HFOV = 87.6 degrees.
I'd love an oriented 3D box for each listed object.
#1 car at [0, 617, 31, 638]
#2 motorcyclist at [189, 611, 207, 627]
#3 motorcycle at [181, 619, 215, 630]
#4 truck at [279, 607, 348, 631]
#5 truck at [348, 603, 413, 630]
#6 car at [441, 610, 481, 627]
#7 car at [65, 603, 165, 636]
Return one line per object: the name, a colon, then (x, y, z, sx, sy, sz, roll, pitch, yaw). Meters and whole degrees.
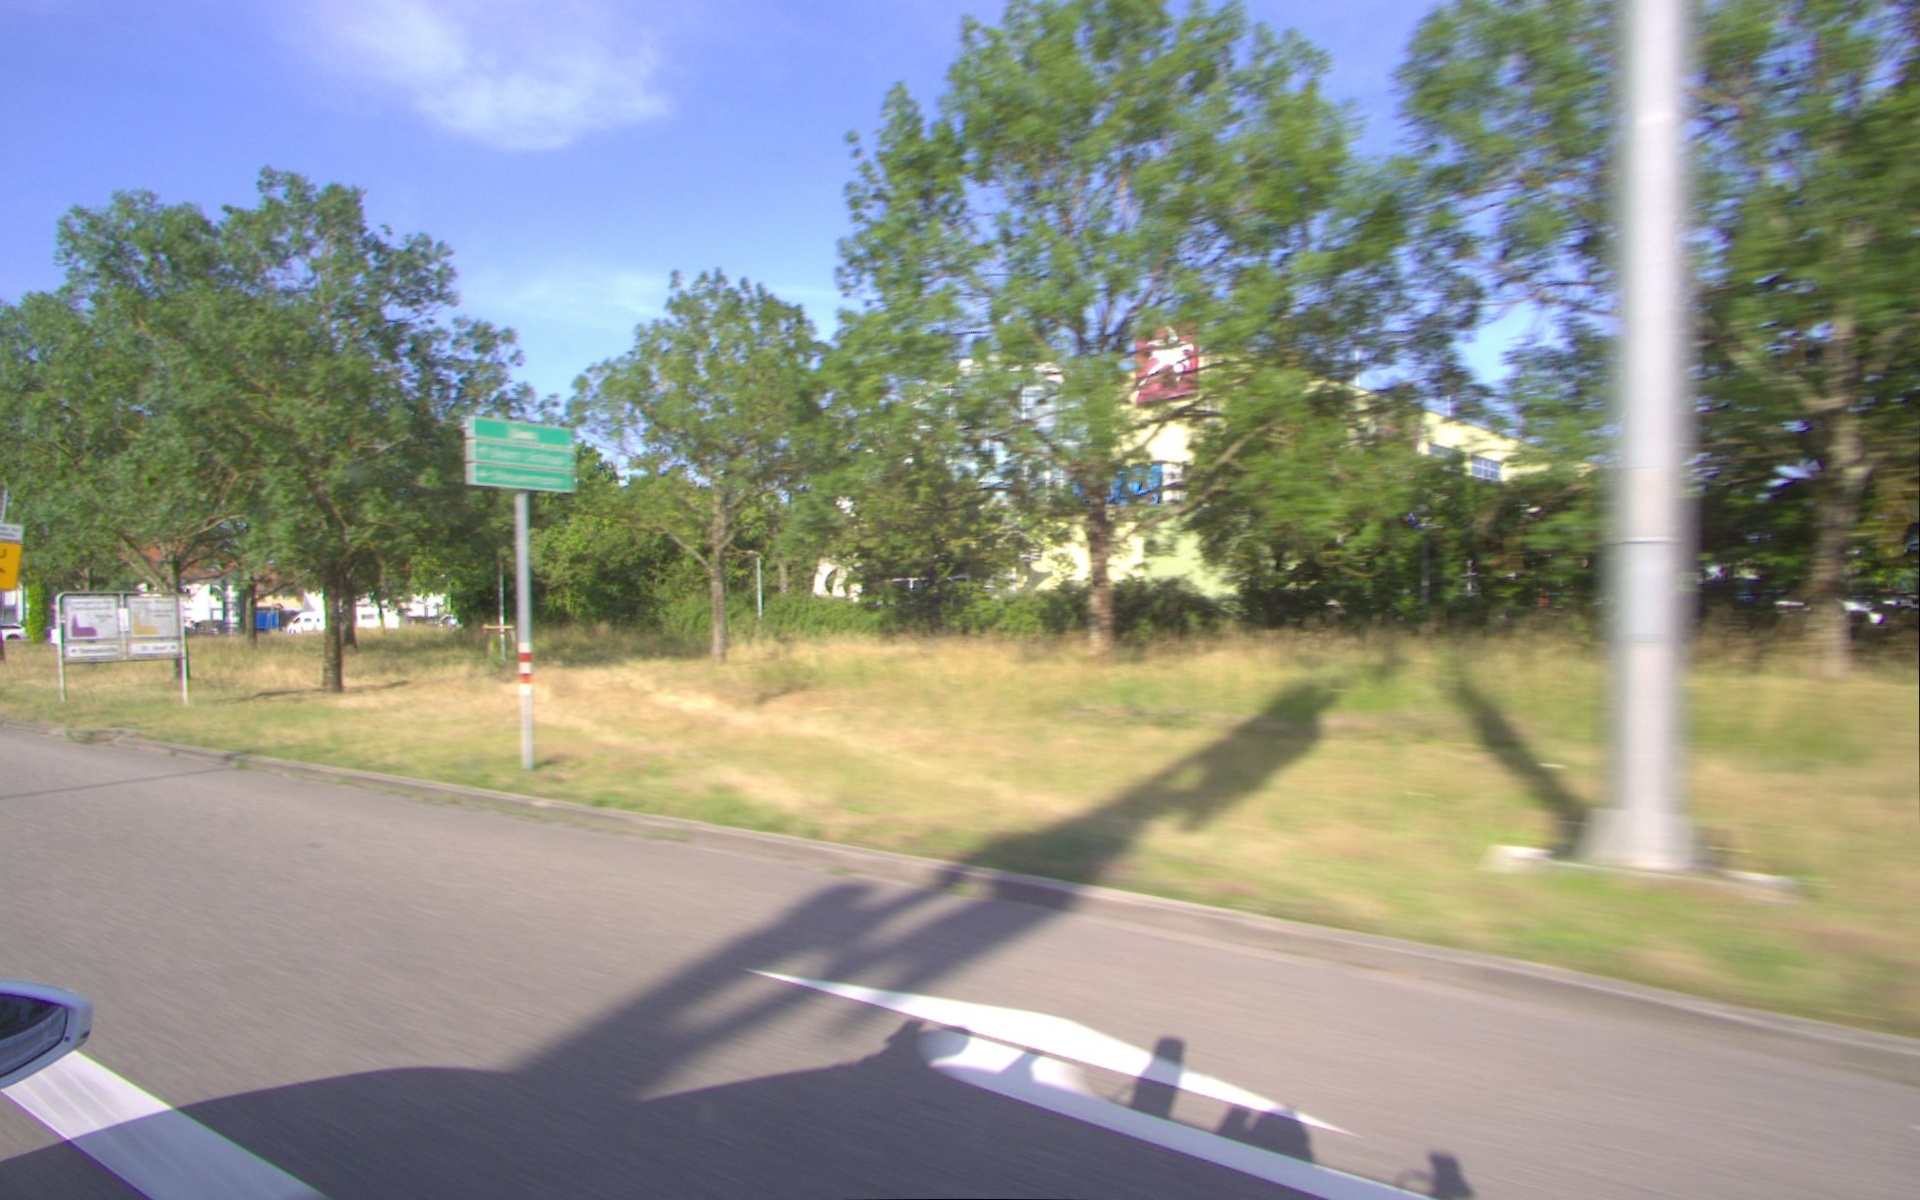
car: (-75.220, 2.120, 77.272, 1.820, 1.583, 5.067, -1, 0, 42)
motorcyclist: (-65.953, 1.634, 86.665, 0.672, 1.369, 1.060, 0, 0, 41)
motorcycle: (-65.940, 2.100, 86.667, 0.683, 0.878, 2.260, -1, 0, 41)
truck: (-69.419, 2.012, 107.571, 6.234, 2.557, 2.277, 0, 0, 7)
truck: (-65.027, 1.821, 112.432, 5.961, 2.892, 1.896, -1, 0, -4)
car: (-59.801, 2.223, 120.034, 3.833, 1.945, 1.896, -1, 0, -4)
car: (-70.090, 1.590, 83.154, 1.978, 2.617, 6.176, -1, 0, 42)
